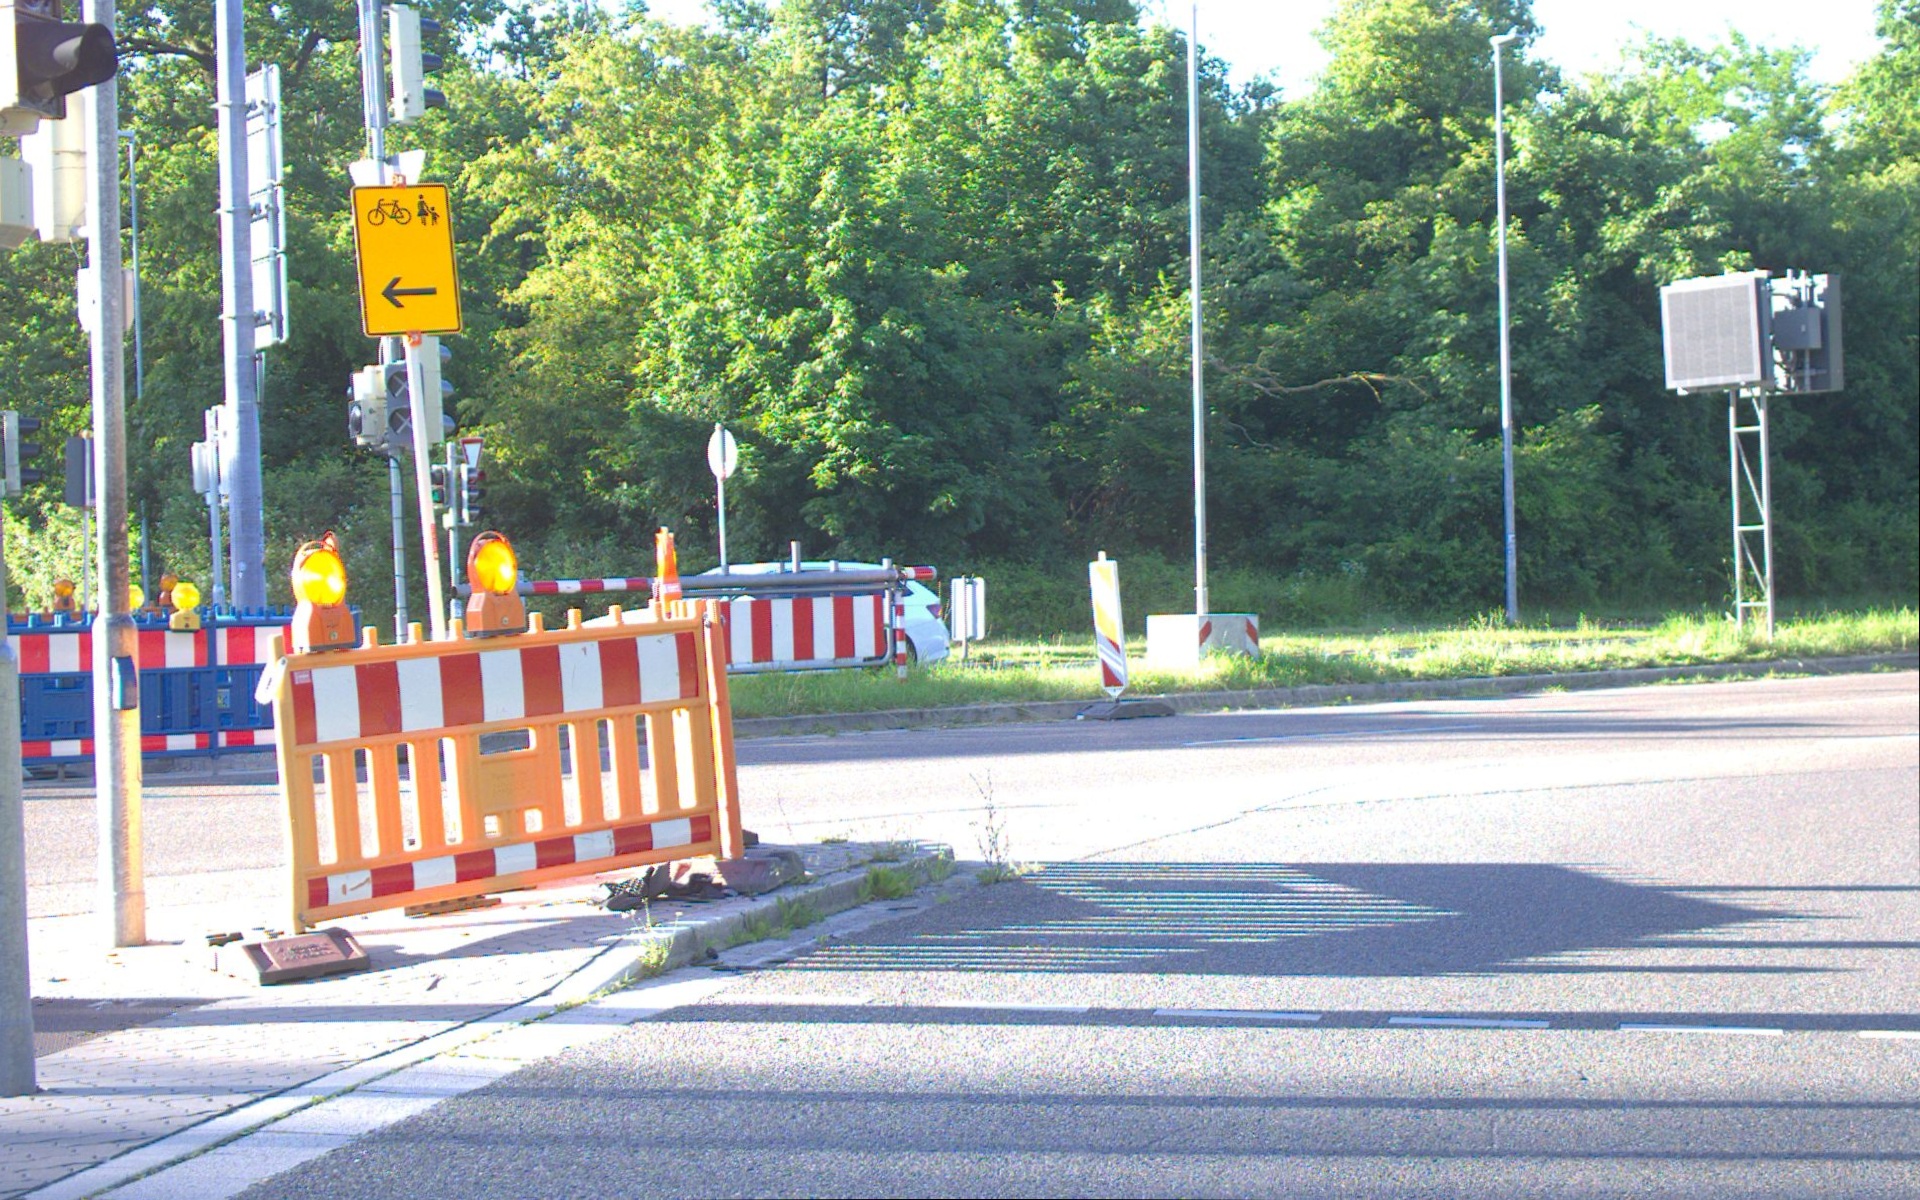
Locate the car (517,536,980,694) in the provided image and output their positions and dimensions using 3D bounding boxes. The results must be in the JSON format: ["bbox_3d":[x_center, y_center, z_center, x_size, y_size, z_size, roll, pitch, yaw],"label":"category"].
[{"bbox_3d":[-2.305,0.137,38.264,4.819,1.575,1.999,-2,1,-37],"label":"car"}]
